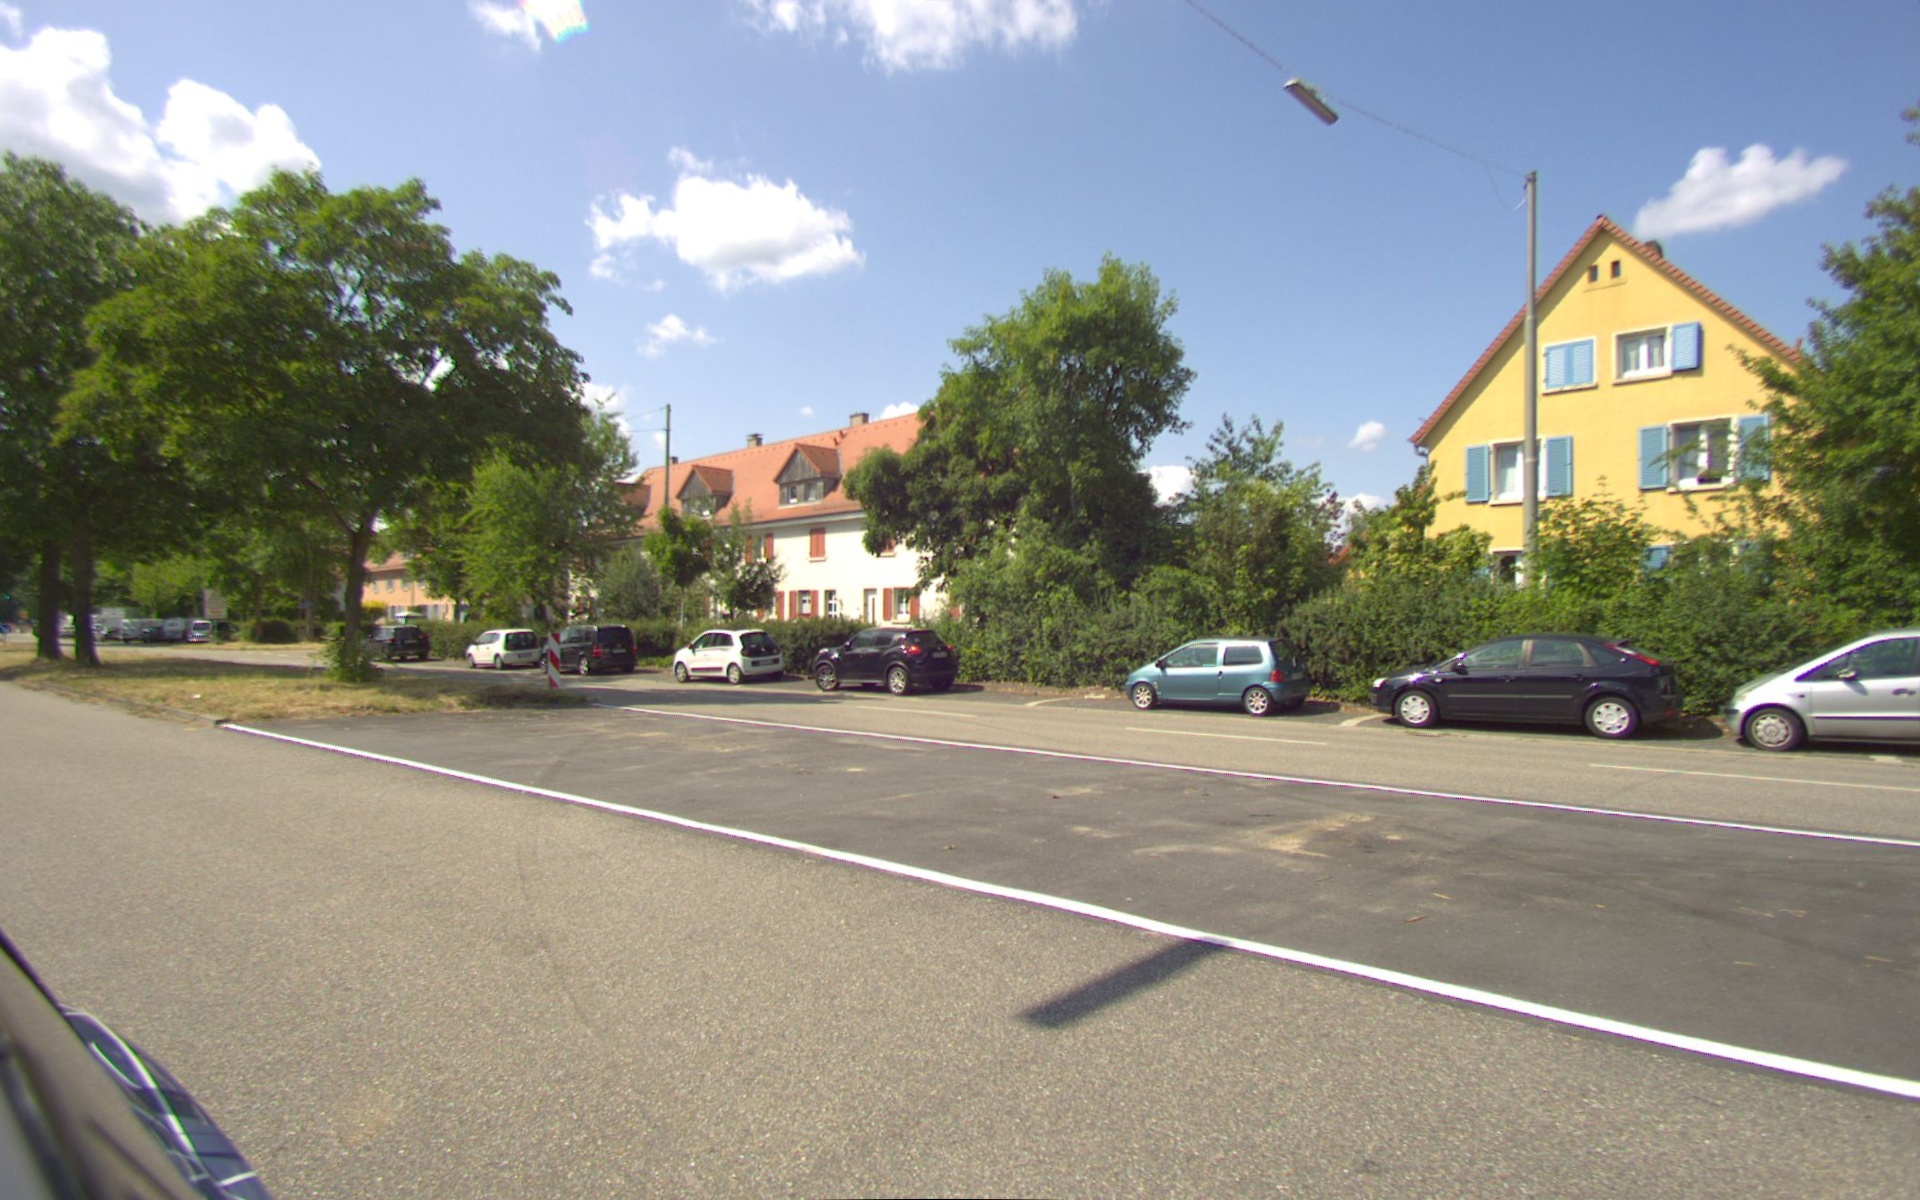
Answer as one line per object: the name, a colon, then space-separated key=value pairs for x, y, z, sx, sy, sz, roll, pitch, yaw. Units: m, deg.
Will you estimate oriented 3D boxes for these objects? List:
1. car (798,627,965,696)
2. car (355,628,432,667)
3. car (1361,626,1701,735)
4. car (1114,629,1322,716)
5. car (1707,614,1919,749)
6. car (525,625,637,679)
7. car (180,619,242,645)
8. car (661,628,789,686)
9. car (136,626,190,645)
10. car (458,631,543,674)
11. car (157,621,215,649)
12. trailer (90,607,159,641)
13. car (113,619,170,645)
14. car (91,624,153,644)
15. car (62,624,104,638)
car: x=-1.999 y=1.473 z=24.933 sx=4.100 sy=1.492 sz=1.643 roll=-2 pitch=0 yaw=40
car: x=-25.543 y=2.096 z=45.583 sx=3.997 sy=1.563 sz=1.749 roll=-1 pitch=1 yaw=40
car: x=8.613 y=1.132 z=15.536 sx=4.354 sy=1.405 sz=1.388 roll=-2 pitch=0 yaw=41
car: x=4.818 y=1.295 z=19.104 sx=3.475 sy=1.405 sz=1.546 roll=-1 pitch=1 yaw=41
car: x=11.810 y=0.987 z=12.767 sx=3.740 sy=1.569 sz=1.388 roll=-1 pitch=0 yaw=41
car: x=-12.916 y=1.714 z=34.393 sx=4.311 sy=1.624 sz=1.643 roll=-1 pitch=1 yaw=40
car: x=-55.911 y=2.379 z=75.666 sx=1.779 sy=1.874 sz=4.002 roll=-1 pitch=-1 yaw=-2
car: x=-6.894 y=1.616 z=29.540 sx=3.844 sy=1.462 sz=1.643 roll=-1 pitch=1 yaw=40
car: x=-67.625 y=2.986 z=85.925 sx=1.550 sy=1.408 sz=4.002 roll=-1 pitch=1 yaw=-2
car: x=-17.516 y=1.952 z=38.544 sx=3.532 sy=1.472 sz=1.578 roll=-1 pitch=1 yaw=40
car: x=-62.699 y=2.818 z=82.044 sx=1.779 sy=2.029 sz=4.002 roll=-1 pitch=1 yaw=-2
trailer: x=-82.017 y=2.286 z=99.453 sx=2.782 sy=3.132 sz=5.767 roll=-2 pitch=0 yaw=-11
car: x=-70.372 y=2.702 z=87.064 sx=1.779 sy=2.029 sz=4.002 roll=-1 pitch=1 yaw=-2
car: x=-74.383 y=2.998 z=89.855 sx=1.799 sy=1.521 sz=3.945 roll=-1 pitch=1 yaw=41
car: x=-96.689 y=3.432 z=111.638 sx=1.646 sy=1.358 sz=3.827 roll=-1 pitch=1 yaw=-8
